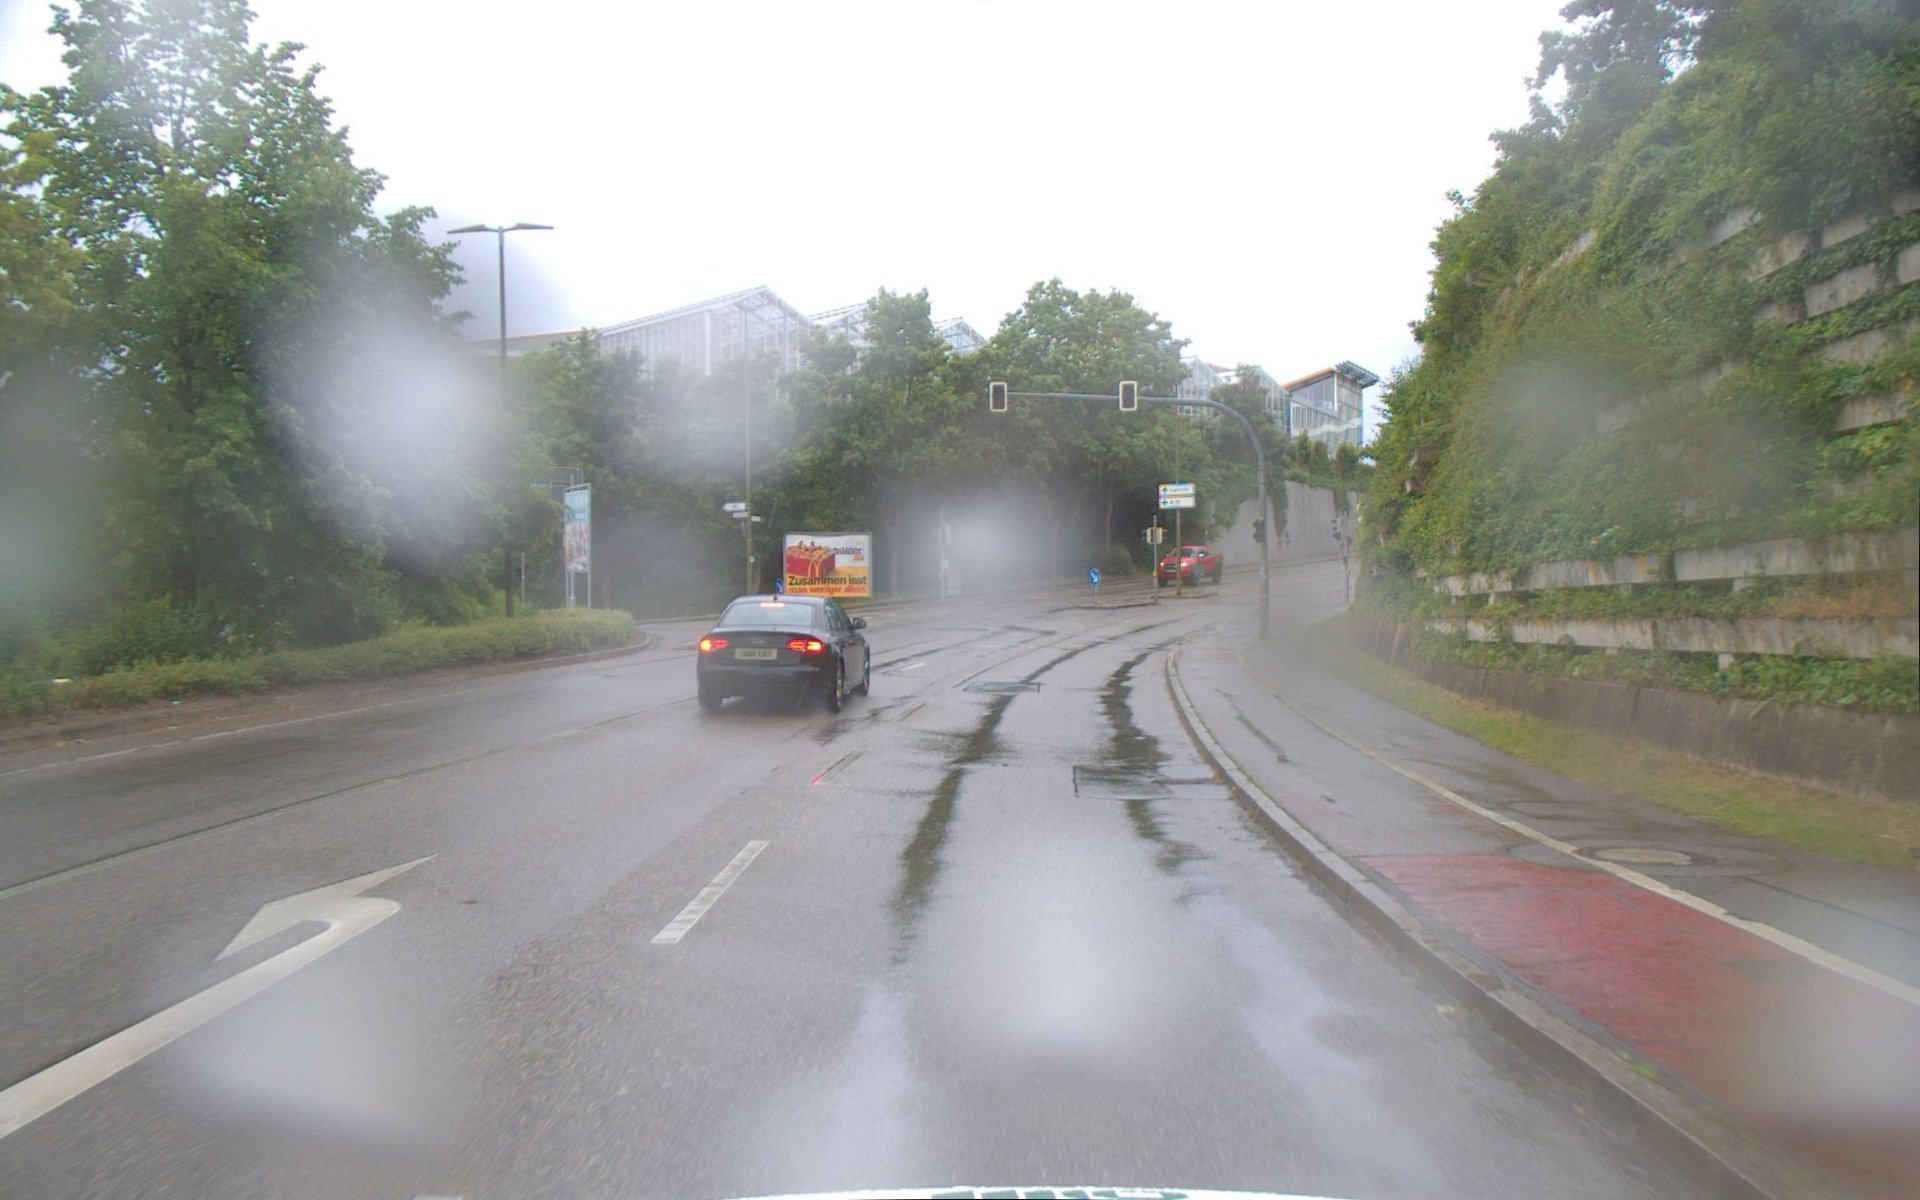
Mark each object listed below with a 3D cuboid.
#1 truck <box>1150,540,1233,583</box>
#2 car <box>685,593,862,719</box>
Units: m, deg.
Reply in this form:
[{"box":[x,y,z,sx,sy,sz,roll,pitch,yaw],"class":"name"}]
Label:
[{"box":[11.611,-1.872,82.570,1.959,2.049,5.320,1,1,35],"class":"truck"},{"box":[-2.287,0.643,21.255,1.718,1.420,4.001,0,1,2],"class":"car"}]
